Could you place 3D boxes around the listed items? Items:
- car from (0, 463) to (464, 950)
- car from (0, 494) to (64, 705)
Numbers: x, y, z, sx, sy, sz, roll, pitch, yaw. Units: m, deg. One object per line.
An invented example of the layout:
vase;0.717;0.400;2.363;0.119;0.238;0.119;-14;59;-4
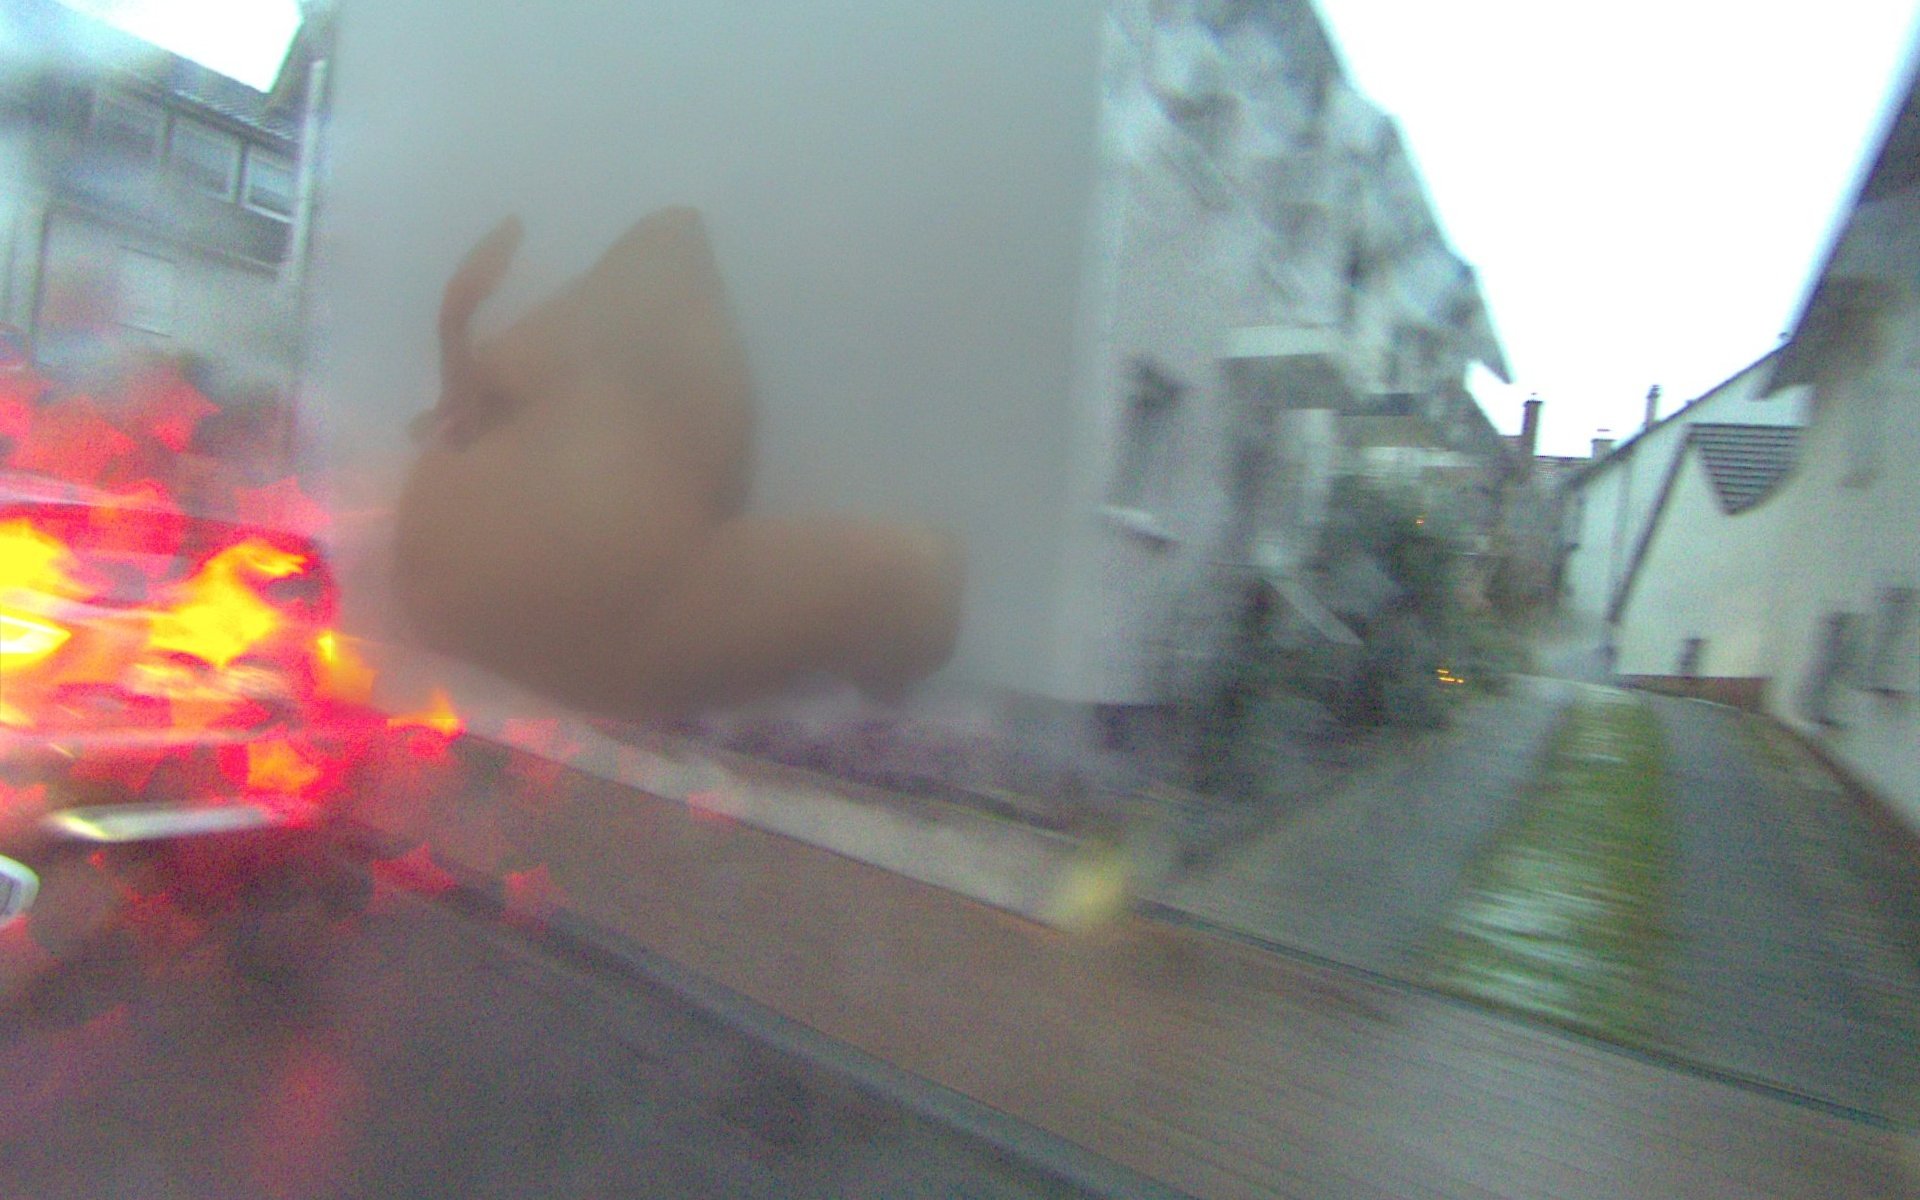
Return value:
car;-4.413;0.185;4.684;3.933;1.553;1.801;7;0;31
car;-8.285;-0.237;7.289;3.690;1.412;1.681;7;0;33
